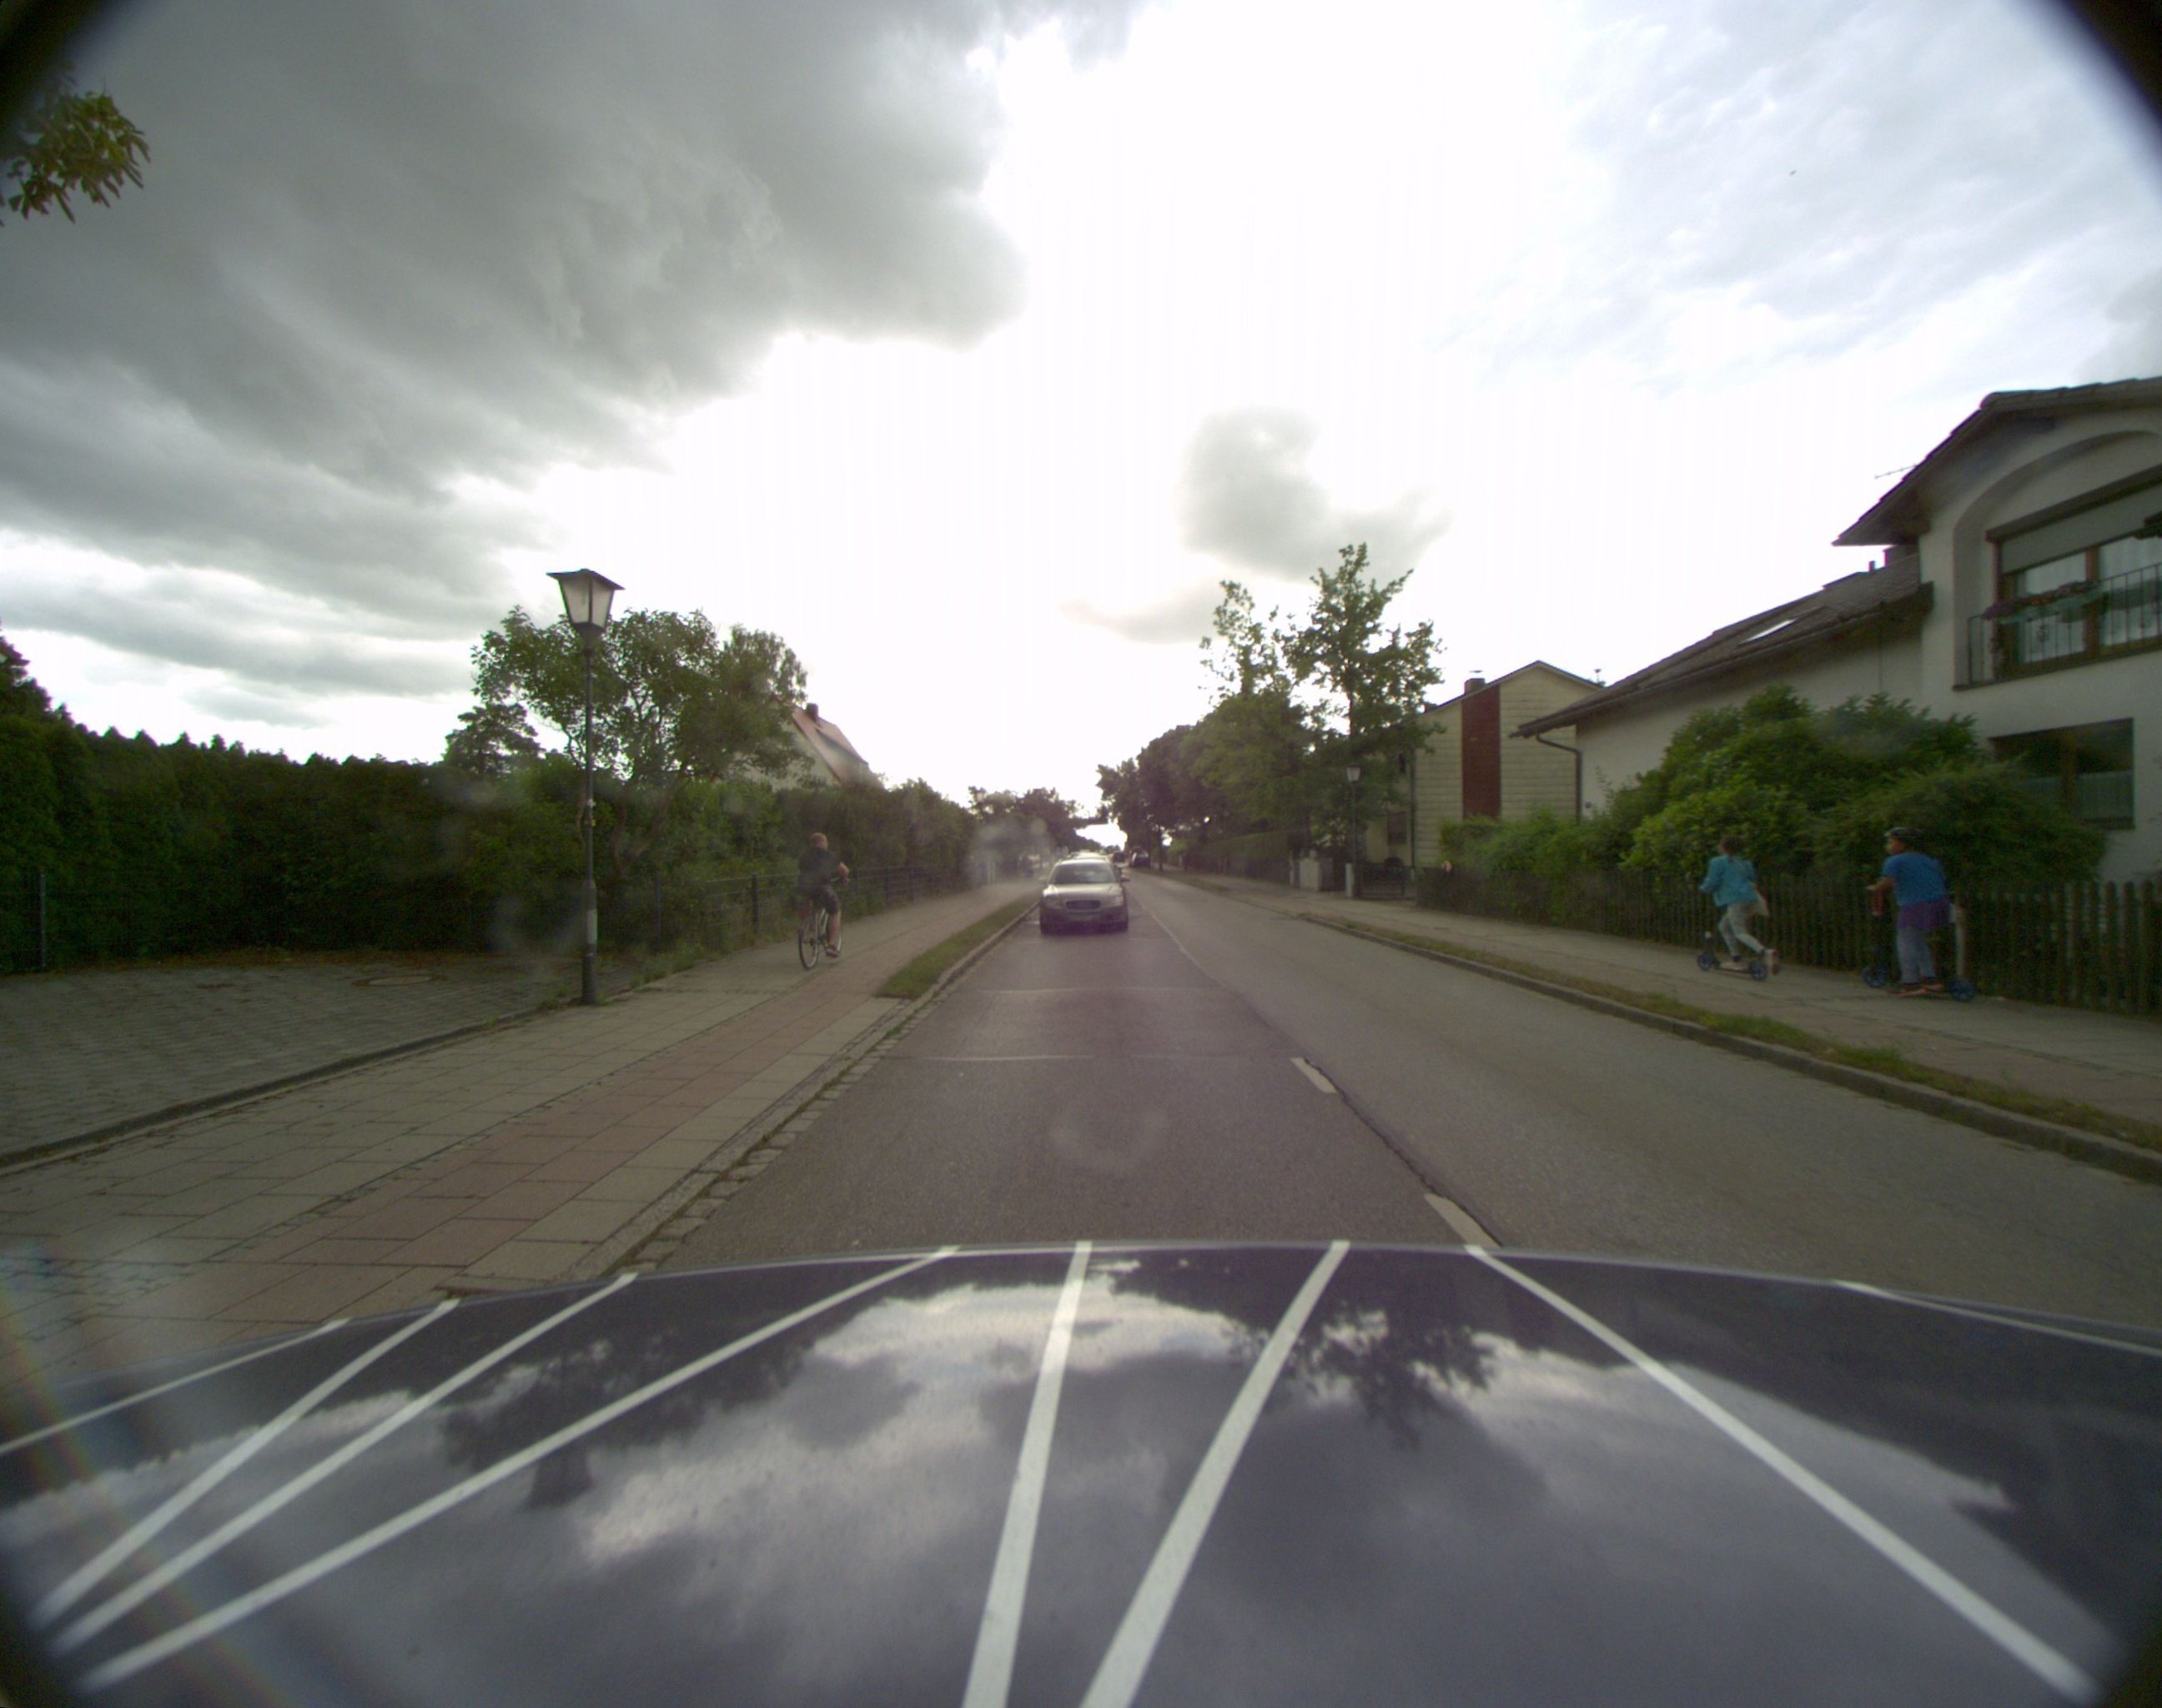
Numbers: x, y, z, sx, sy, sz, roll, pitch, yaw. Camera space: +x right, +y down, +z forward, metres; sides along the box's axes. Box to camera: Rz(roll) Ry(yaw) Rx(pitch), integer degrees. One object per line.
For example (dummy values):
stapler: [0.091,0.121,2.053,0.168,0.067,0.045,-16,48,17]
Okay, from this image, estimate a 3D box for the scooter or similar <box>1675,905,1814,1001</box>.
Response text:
scooter or similar: [6.816,0.993,7.862,0.522,0.845,1.061,-1,0,2]

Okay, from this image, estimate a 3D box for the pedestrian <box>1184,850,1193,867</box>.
pedestrian: [9.227,0.399,65.295,0.631,1.429,0.563,-1,1,1]

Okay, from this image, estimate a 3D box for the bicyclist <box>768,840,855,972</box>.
bicyclist: [-3.446,0.639,9.798,0.738,1.623,0.891,-1,1,4]

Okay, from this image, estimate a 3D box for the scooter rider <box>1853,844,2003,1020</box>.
scooter rider: [7.408,0.657,6.670,0.664,1.464,0.581,-1,1,1]

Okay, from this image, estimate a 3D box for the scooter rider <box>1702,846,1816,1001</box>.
scooter rider: [6.806,0.669,7.653,0.504,1.481,0.716,-1,1,2]

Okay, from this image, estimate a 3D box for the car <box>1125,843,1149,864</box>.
car: [6.285,-0.101,85.605,2.246,2.258,4.469,-1,0,-2]

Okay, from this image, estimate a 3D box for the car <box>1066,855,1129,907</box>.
car: [0.524,0.815,25.329,1.866,1.518,4.943,-1,0,0]

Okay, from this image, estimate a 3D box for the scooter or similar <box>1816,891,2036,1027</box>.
scooter or similar: [7.412,0.884,6.745,0.663,1.031,1.178,-1,0,2]

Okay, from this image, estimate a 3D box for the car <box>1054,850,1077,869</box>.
car: [-1.242,0.448,62.695,1.866,1.518,4.122,-1,0,-1]

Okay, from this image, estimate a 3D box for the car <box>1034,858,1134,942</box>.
car: [0.076,0.854,16.171,1.809,1.476,4.270,-1,0,0]

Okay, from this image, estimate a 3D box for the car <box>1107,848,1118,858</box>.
car: [6.190,-0.207,149.737,1.904,1.873,5.010,-1,0,2]

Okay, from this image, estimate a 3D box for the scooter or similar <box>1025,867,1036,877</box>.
scooter or similar: [-3.053,1.081,45.756,0.618,0.553,0.742,-1,0,-3]

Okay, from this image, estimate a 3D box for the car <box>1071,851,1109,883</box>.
car: [0.468,0.635,39.733,1.866,1.518,4.122,-1,0,0]

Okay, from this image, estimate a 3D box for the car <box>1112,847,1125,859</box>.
car: [5.965,-0.184,120.164,1.969,1.842,4.948,-1,0,2]

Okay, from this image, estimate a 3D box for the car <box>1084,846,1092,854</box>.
car: [1.664,-0.975,190.285,1.998,2.002,4.000,-1,0,1]

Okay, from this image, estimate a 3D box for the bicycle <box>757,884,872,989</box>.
bicycle: [-3.424,1.020,9.972,0.766,1.137,1.845,-1,1,3]

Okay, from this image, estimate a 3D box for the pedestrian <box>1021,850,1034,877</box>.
pedestrian: [-3.264,0.574,46.426,0.792,1.592,0.671,-1,1,-2]

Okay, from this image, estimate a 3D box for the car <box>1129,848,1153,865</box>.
car: [6.267,0.249,79.766,1.999,1.739,3.999,-1,0,-2]
